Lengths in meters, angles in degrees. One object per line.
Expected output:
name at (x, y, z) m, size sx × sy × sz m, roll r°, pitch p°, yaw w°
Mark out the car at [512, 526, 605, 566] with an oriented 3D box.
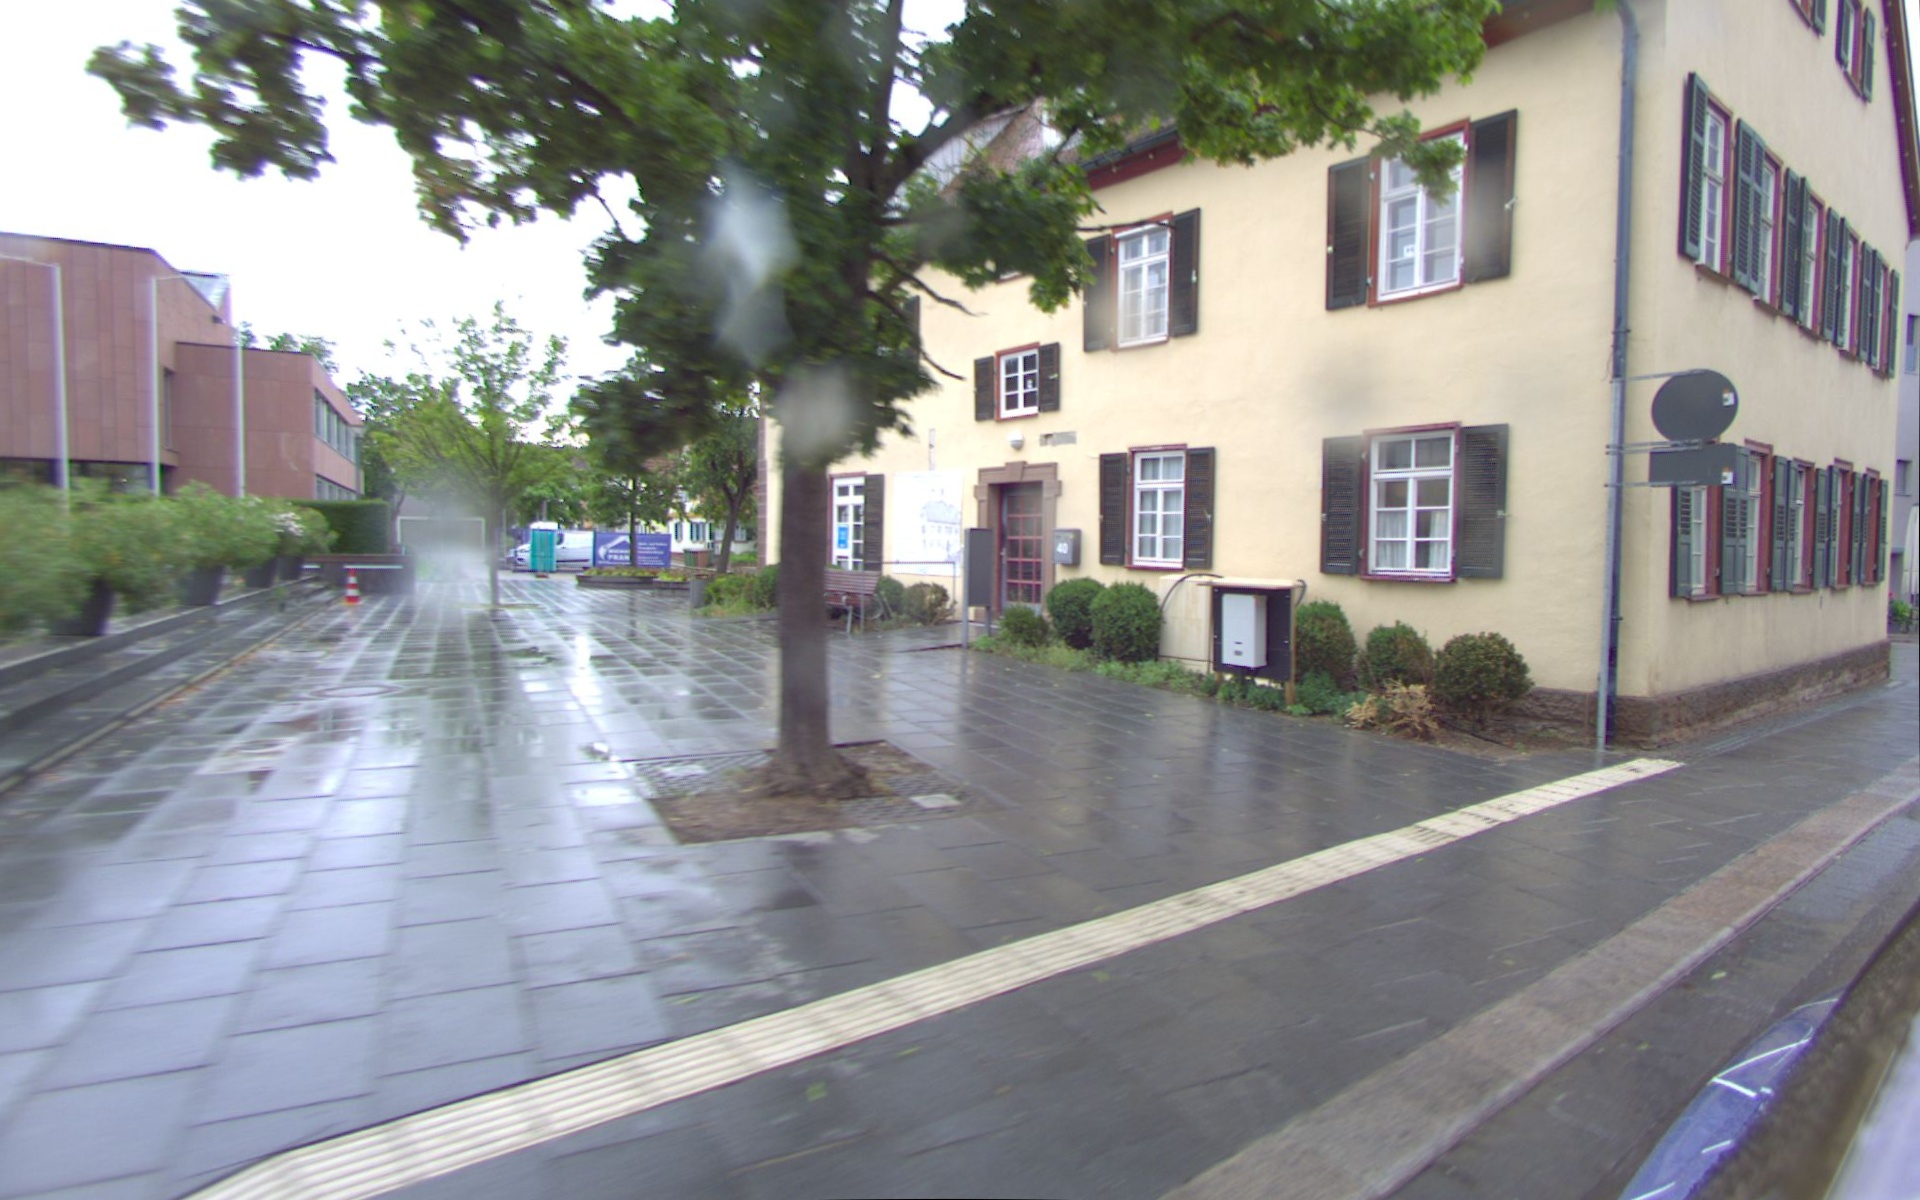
car at (-19.294, -2.579, 48.644) m, size 3.920 × 1.793 × 1.722 m, roll 0°, pitch 4°, yaw -30°
